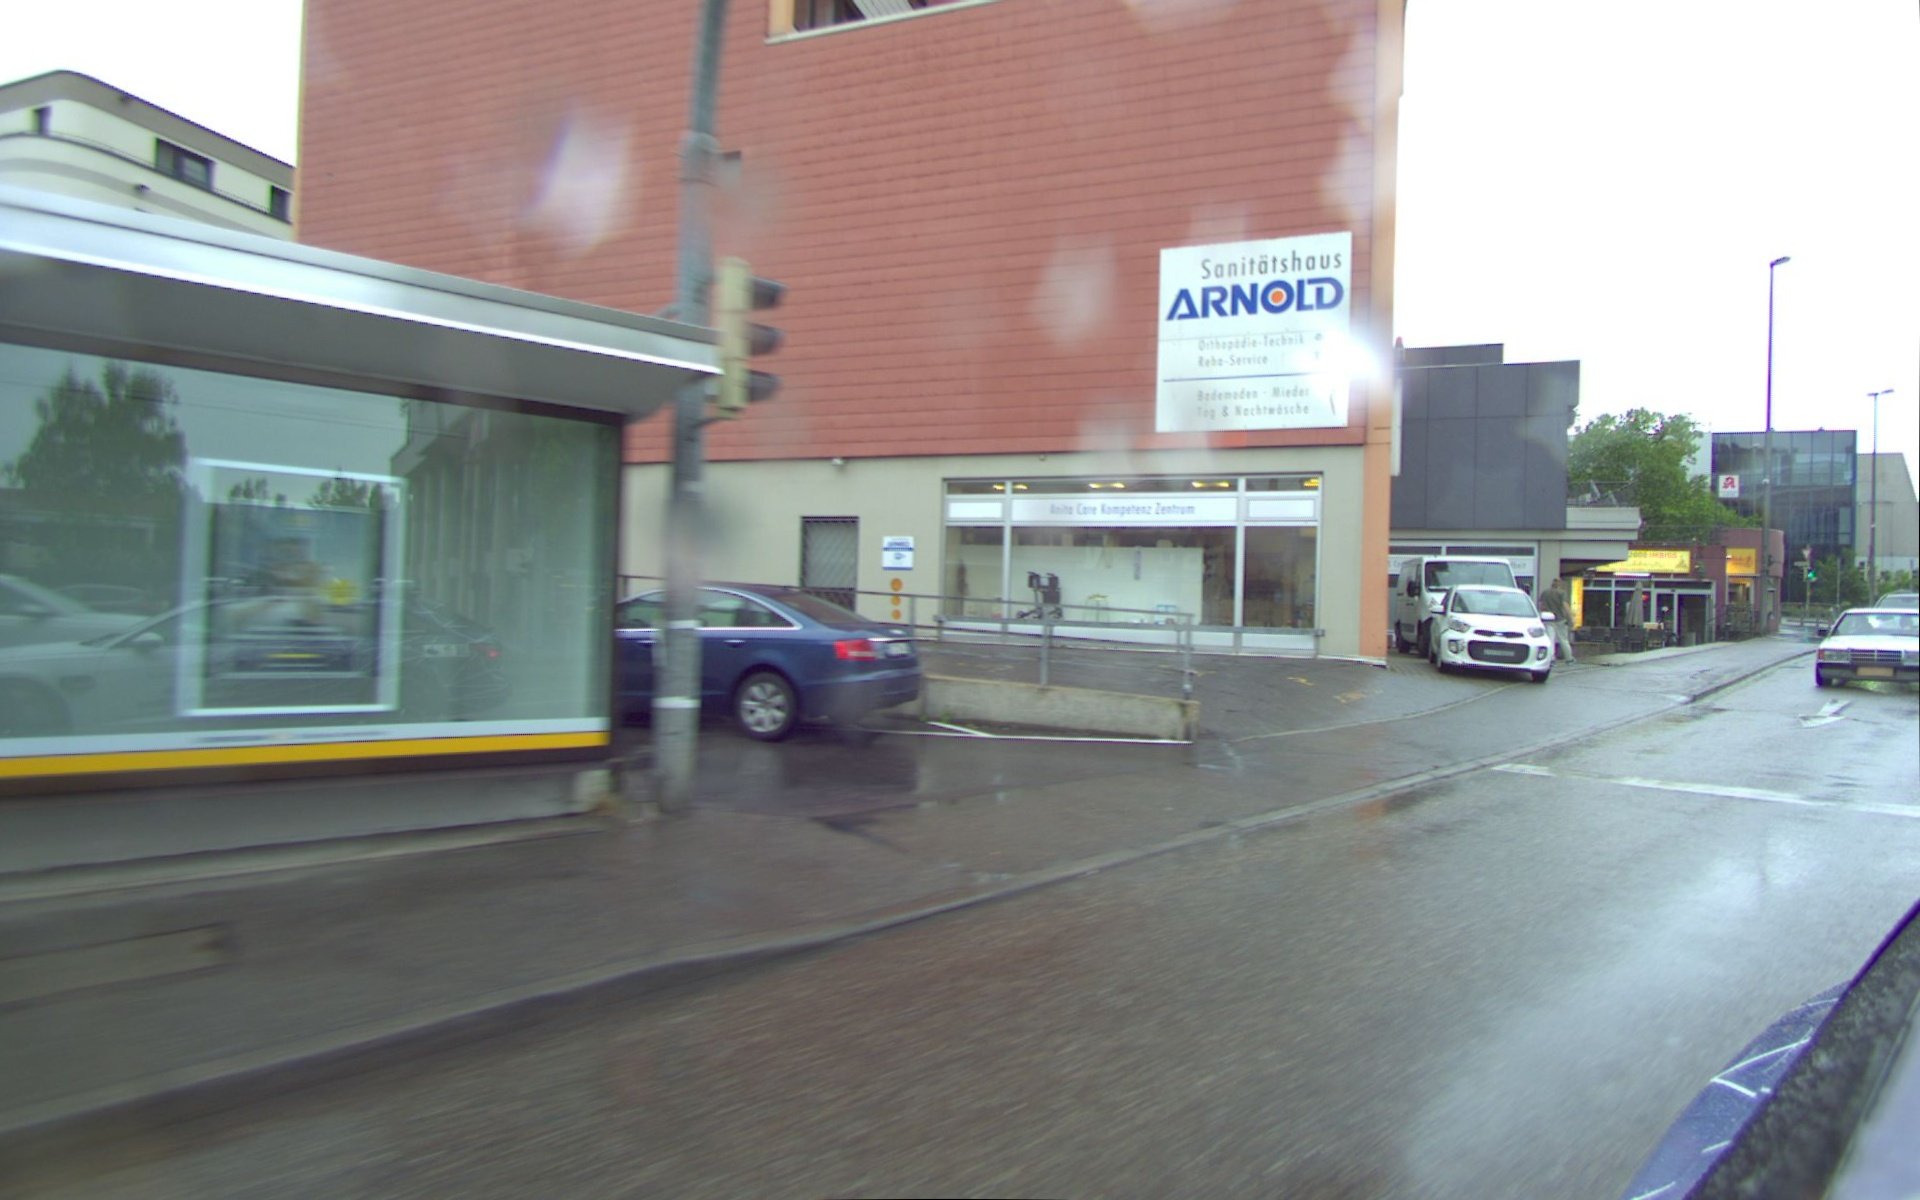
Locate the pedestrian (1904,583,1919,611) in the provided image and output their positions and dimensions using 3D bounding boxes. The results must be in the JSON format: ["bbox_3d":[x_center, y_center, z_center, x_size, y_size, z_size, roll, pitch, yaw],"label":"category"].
[{"bbox_3d":[49.778,-0.159,52.691,0.756,1.396,0.689,0,4,-33],"label":"pedestrian"}]

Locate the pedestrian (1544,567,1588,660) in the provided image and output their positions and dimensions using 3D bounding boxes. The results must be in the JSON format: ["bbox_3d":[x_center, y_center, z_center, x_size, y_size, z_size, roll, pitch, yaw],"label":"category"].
[{"bbox_3d":[11.906,0.256,19.887,0.593,1.789,0.590,1,-1,45],"label":"pedestrian"}]

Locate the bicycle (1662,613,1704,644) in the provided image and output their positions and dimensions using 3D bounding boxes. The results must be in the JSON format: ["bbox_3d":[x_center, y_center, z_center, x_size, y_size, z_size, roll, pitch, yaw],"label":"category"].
[{"bbox_3d":[25.173,0.985,35.250,0.523,0.949,1.572,3,2,10],"label":"bicycle"}]

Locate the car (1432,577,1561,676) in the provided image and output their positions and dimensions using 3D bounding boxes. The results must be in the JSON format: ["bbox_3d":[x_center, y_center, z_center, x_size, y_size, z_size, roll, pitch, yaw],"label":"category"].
[{"bbox_3d":[8.957,0.362,17.125,1.598,1.480,3.398,1,1,23],"label":"car"}]

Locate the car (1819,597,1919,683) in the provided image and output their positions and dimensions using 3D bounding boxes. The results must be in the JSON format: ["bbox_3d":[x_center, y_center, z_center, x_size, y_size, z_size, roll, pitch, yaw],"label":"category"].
[{"bbox_3d":[16.787,0.651,18.014,3.925,1.324,1.661,-1,2,-40],"label":"car"}]

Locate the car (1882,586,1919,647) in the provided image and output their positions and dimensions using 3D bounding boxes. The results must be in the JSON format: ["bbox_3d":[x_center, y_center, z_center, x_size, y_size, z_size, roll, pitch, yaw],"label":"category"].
[{"bbox_3d":[28.486,0.446,29.412,4.403,1.668,2.056,-1,1,-42],"label":"car"}]

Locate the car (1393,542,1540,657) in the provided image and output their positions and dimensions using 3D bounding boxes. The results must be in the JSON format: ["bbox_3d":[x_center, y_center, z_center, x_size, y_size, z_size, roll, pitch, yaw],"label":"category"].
[{"bbox_3d":[11.256,0.056,22.867,1.980,2.237,4.849,3,-1,16],"label":"car"}]

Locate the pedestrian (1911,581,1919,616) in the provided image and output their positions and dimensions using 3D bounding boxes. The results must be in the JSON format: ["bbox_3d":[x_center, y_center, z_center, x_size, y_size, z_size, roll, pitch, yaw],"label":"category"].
[{"bbox_3d":[50.726,-0.086,53.299,0.781,1.825,0.689,0,4,-33],"label":"pedestrian"}]

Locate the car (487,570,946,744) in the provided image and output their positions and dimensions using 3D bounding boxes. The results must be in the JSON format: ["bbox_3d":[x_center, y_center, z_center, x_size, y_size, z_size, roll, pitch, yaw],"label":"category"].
[{"bbox_3d":[-2.480,0.470,10.364,4.345,1.429,1.725,2,1,20],"label":"car"}]
